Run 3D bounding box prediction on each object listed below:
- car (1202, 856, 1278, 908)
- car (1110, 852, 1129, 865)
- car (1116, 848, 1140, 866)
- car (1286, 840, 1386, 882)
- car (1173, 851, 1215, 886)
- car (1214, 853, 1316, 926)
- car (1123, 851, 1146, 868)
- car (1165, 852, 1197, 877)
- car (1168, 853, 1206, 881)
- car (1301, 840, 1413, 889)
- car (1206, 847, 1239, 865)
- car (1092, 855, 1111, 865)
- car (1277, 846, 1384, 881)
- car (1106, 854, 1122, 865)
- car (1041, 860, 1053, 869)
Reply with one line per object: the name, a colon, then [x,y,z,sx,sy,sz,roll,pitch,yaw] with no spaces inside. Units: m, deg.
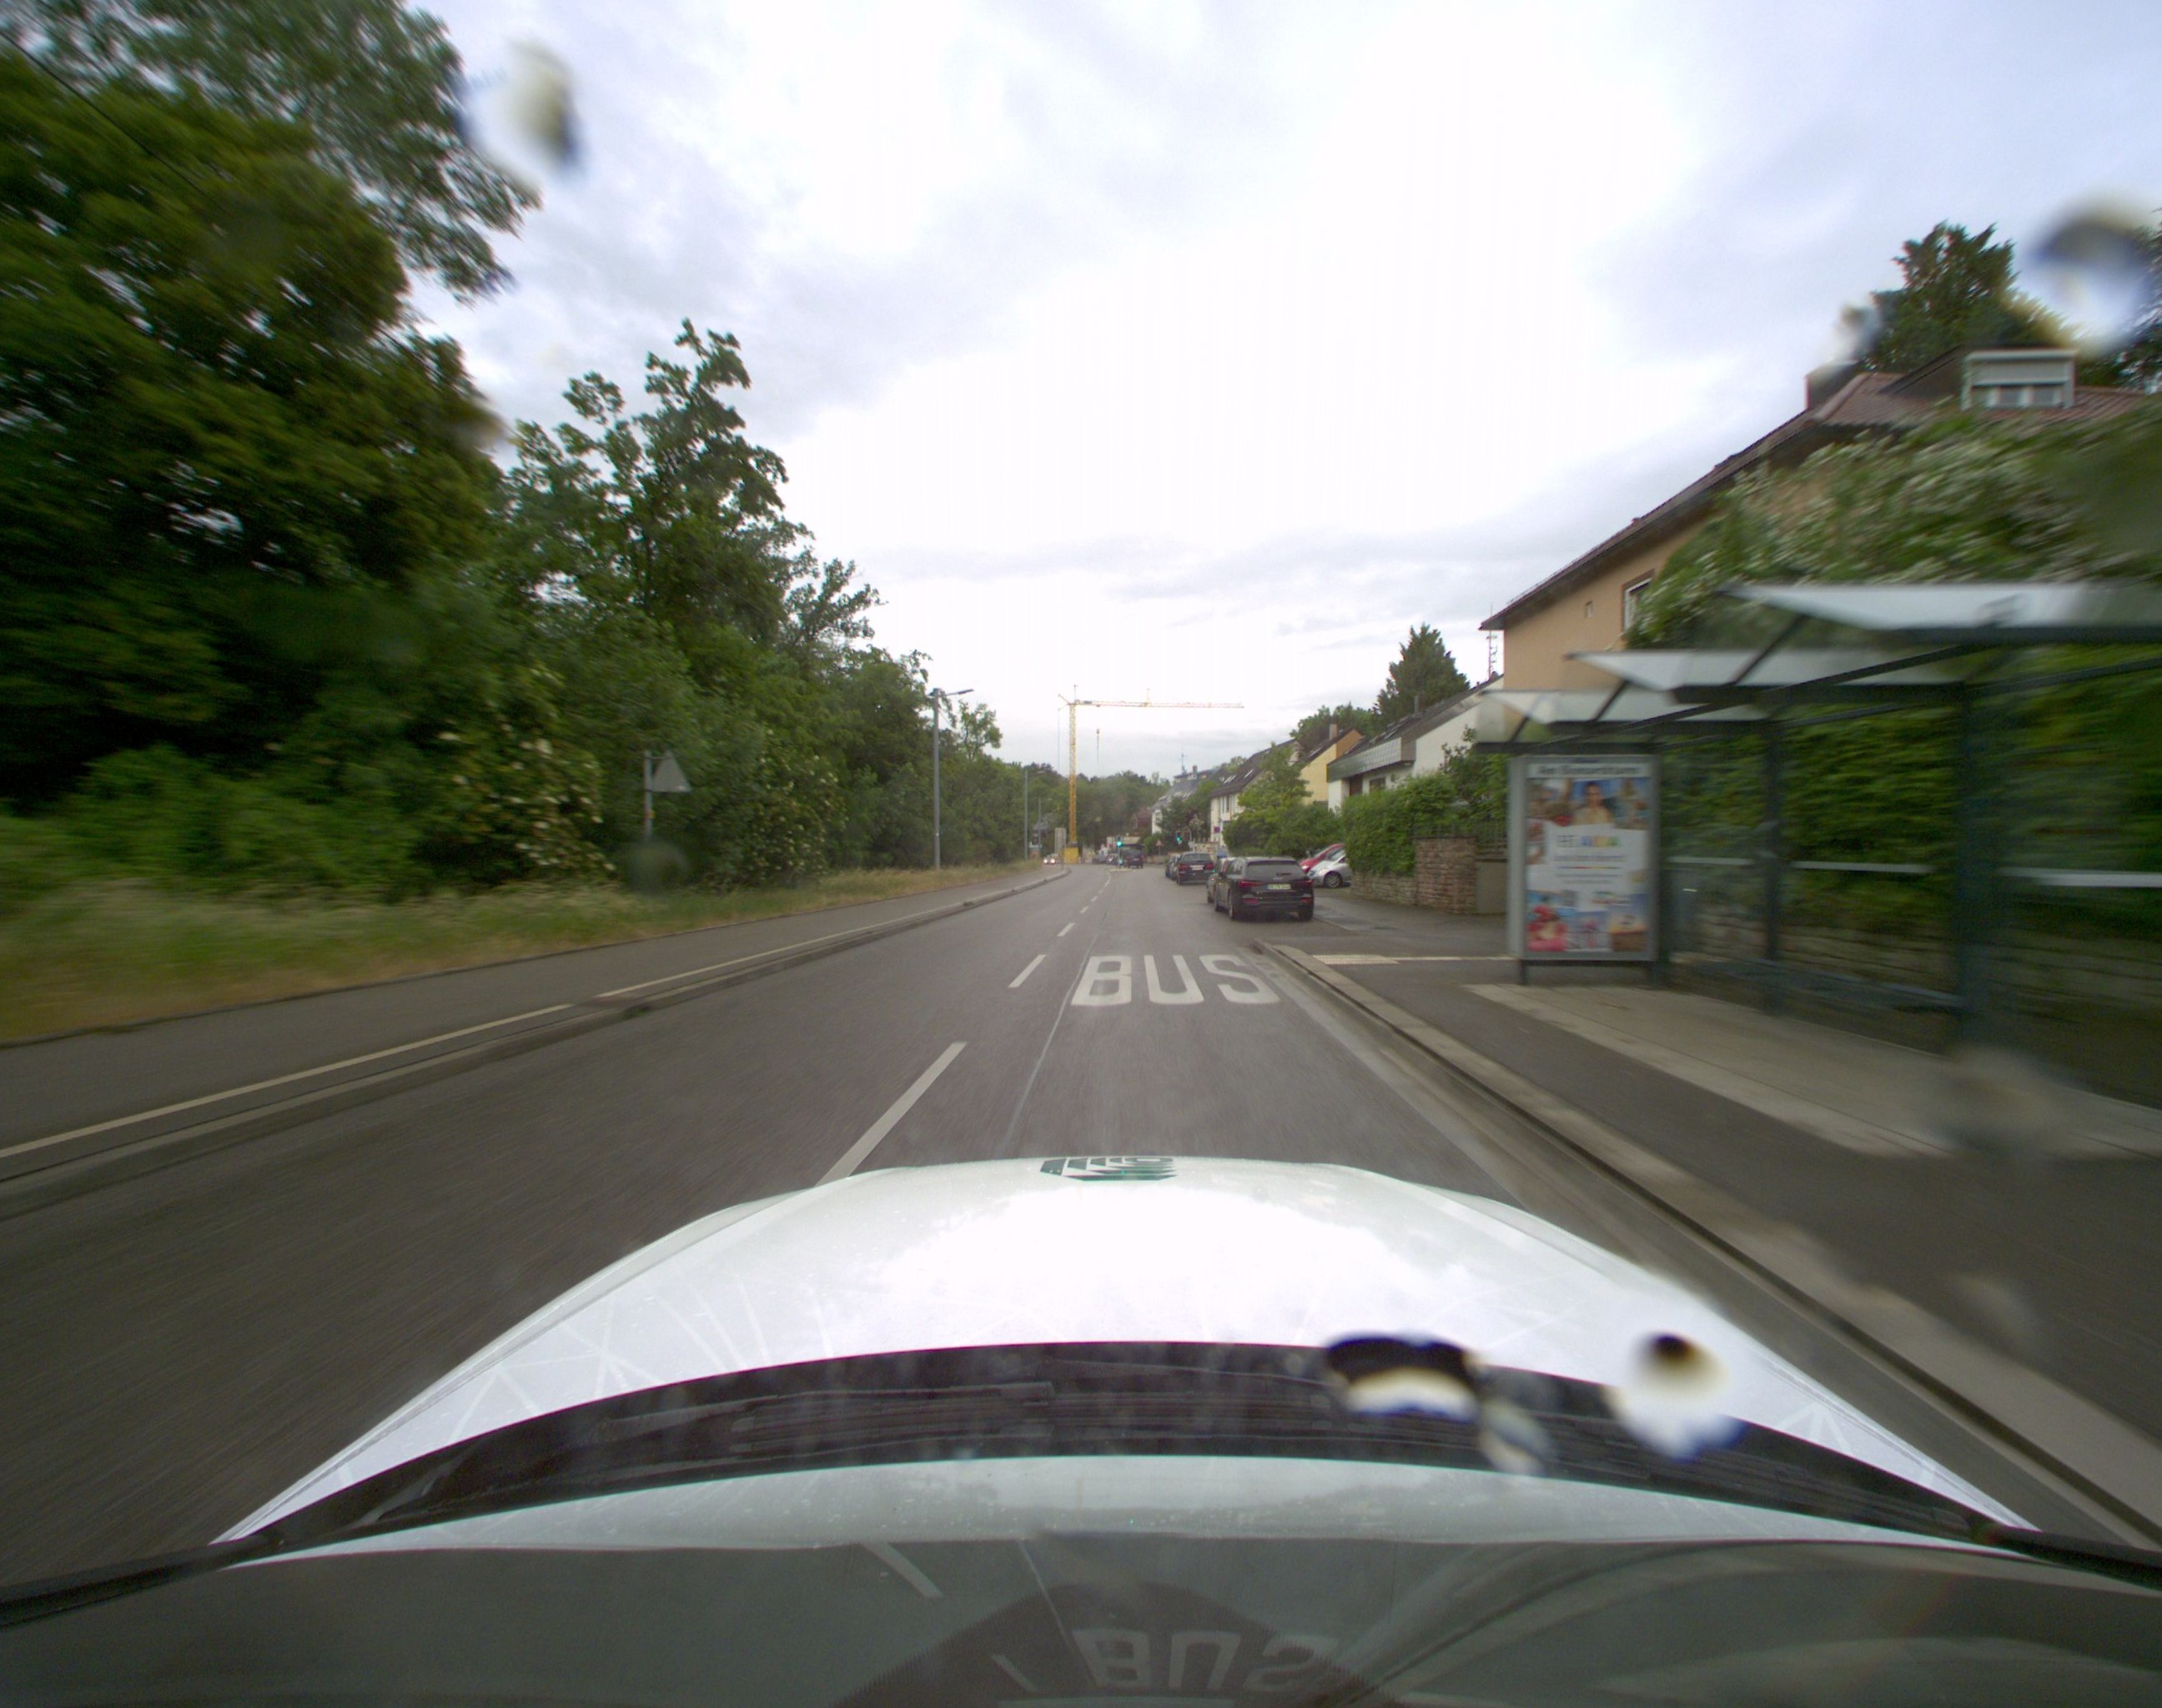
car: [4.699,0.806,24.539,1.804,1.398,4.108,-1,-1,5]
car: [5.058,0.616,107.078,1.929,1.596,4.387,-4,0,-5]
car: [5.869,0.407,102.084,1.992,2.013,4.942,-3,0,-8]
car: [10.734,0.301,34.455,3.642,1.566,1.884,-3,-1,3]
car: [5.588,0.672,40.724,1.722,1.568,4.527,-2,0,4]
car: [4.360,0.798,19.970,1.821,1.547,4.636,-1,-1,5]
car: [5.557,0.593,84.954,1.927,1.751,3.997,1,-1,-2]
car: [6.340,0.660,51.865,1.744,1.443,4.605,-1,-1,4]
car: [6.047,0.728,46.909,1.785,1.487,4.499,-1,-1,3]
car: [10.588,0.385,31.416,3.645,1.536,1.828,-4,0,0]
car: [13.225,0.224,76.370,1.929,1.596,4.333,2,-1,-6]
car: [3.116,0.929,125.276,1.933,1.422,4.817,1,0,-12]
car: [11.109,0.434,36.507,4.227,1.461,1.884,-1,-1,3]
car: [4.531,0.713,111.616,1.672,1.457,3.376,-2,0,-8]
car: [-5.546,1.679,134.255,1.738,1.460,4.413,-2,-1,0]
